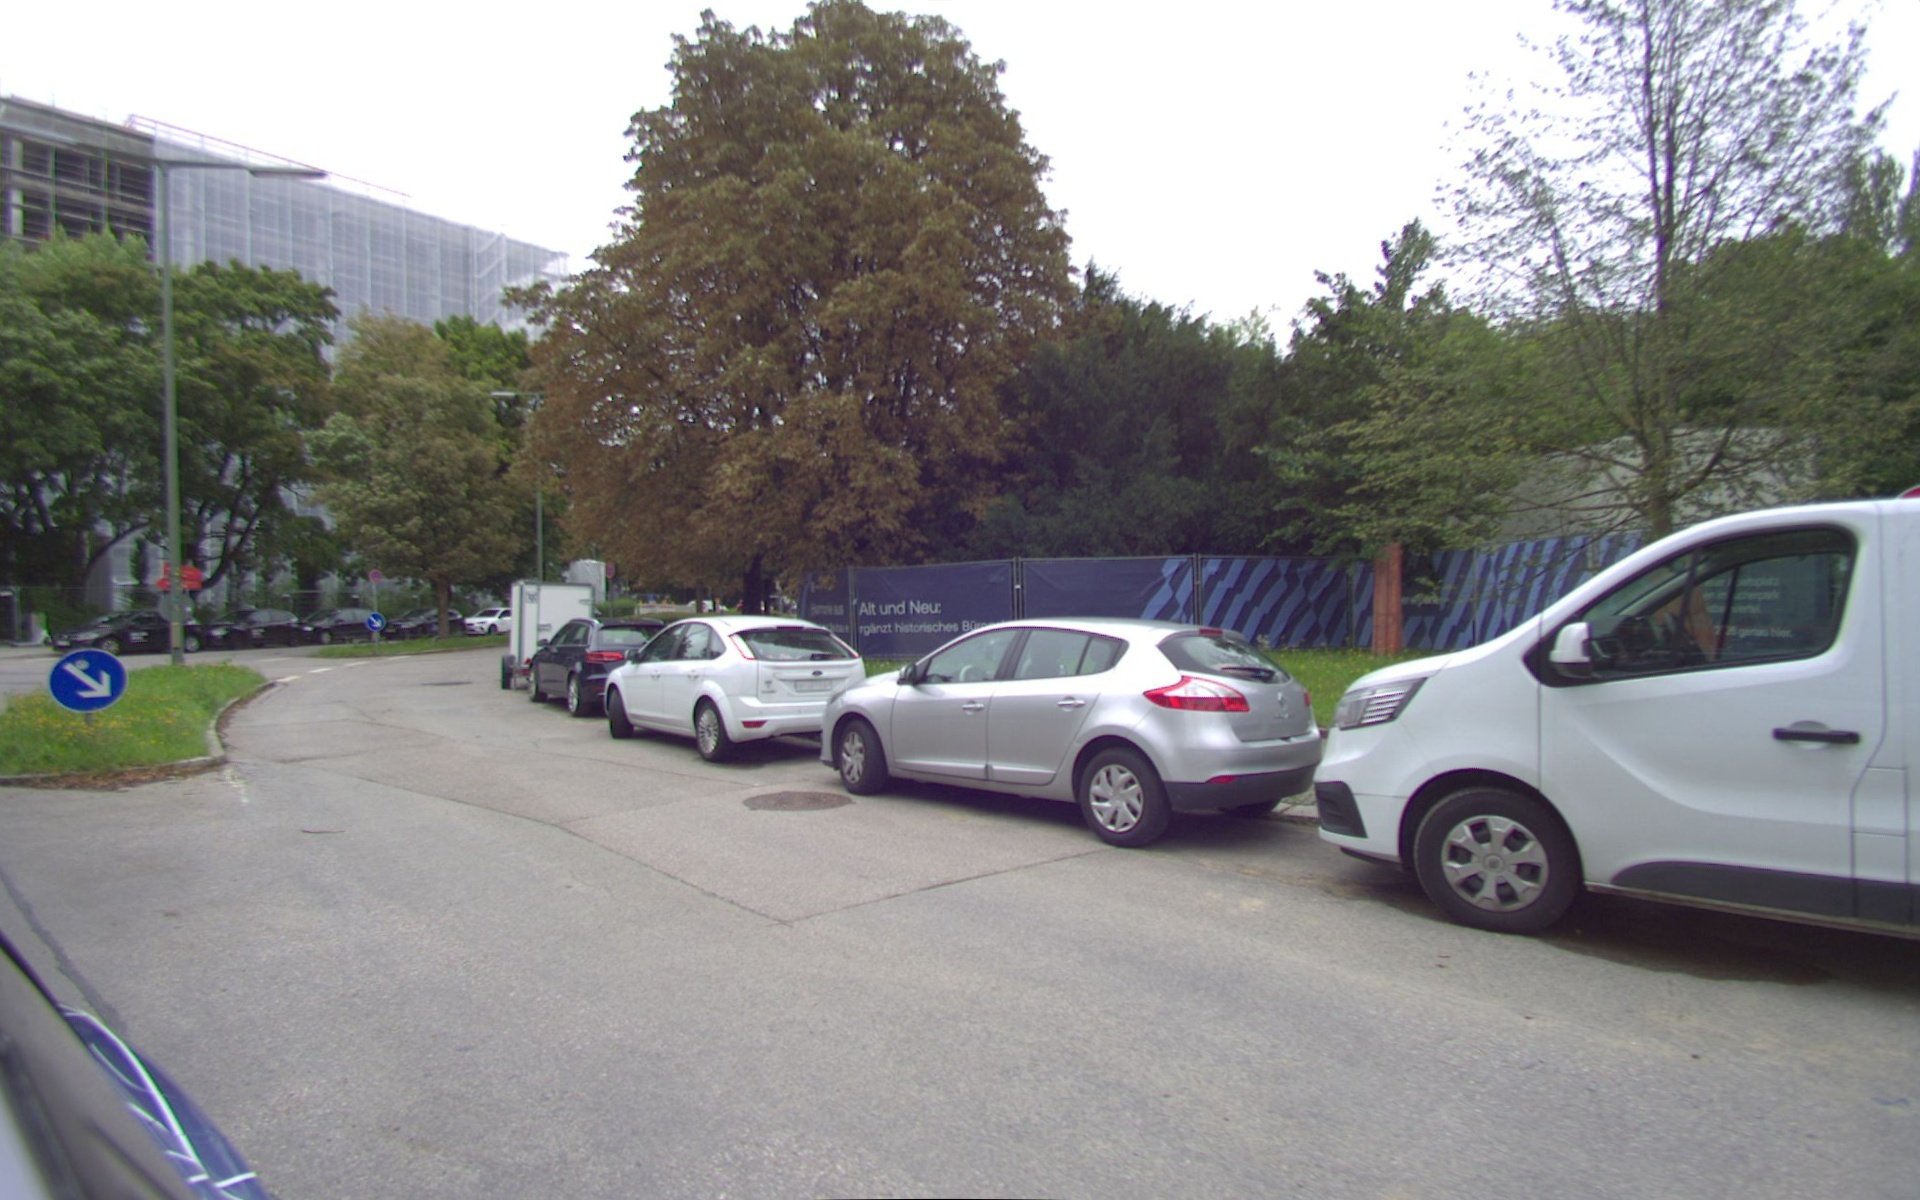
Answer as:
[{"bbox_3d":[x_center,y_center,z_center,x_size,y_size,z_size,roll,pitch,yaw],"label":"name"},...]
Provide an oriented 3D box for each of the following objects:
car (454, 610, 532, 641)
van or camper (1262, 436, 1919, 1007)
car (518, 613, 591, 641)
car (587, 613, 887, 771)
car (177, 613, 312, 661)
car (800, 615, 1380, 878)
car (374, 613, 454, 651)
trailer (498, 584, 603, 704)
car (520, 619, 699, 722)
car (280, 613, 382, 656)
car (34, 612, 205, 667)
[{"bbox_3d":[-23.213,1.250,50.455,1.507,1.397,3.701,1,0,16],"label":"car"},{"bbox_3d":[4.312,0.445,4.177,5.585,2.050,1.968,-1,-2,42],"label":"van or camper"},{"bbox_3d":[-21.714,1.412,54.321,1.511,1.397,3.691,1,0,23],"label":"car"},{"bbox_3d":[-2.698,0.911,11.590,1.715,1.470,4.038,2,-2,-39],"label":"car"},{"bbox_3d":[-25.850,1.289,36.707,1.770,1.584,3.874,1,0,10],"label":"car"},{"bbox_3d":[0.796,0.870,7.843,4.122,1.470,1.971,-1,-2,45],"label":"car"},{"bbox_3d":[-24.363,1.408,45.260,1.509,1.584,2.894,1,0,20],"label":"car"},{"bbox_3d":[-8.194,0.827,20.138,1.752,2.198,2.786,1,-1,-25],"label":"trailer"},{"bbox_3d":[-5.626,1.022,15.971,1.667,1.423,3.805,2,-2,-35],"label":"car"},{"bbox_3d":[-25.250,1.351,40.742,1.645,1.584,3.246,1,0,16],"label":"car"},{"bbox_3d":[-26.634,1.198,32.226,1.773,1.584,3.867,1,0,15],"label":"car"}]
